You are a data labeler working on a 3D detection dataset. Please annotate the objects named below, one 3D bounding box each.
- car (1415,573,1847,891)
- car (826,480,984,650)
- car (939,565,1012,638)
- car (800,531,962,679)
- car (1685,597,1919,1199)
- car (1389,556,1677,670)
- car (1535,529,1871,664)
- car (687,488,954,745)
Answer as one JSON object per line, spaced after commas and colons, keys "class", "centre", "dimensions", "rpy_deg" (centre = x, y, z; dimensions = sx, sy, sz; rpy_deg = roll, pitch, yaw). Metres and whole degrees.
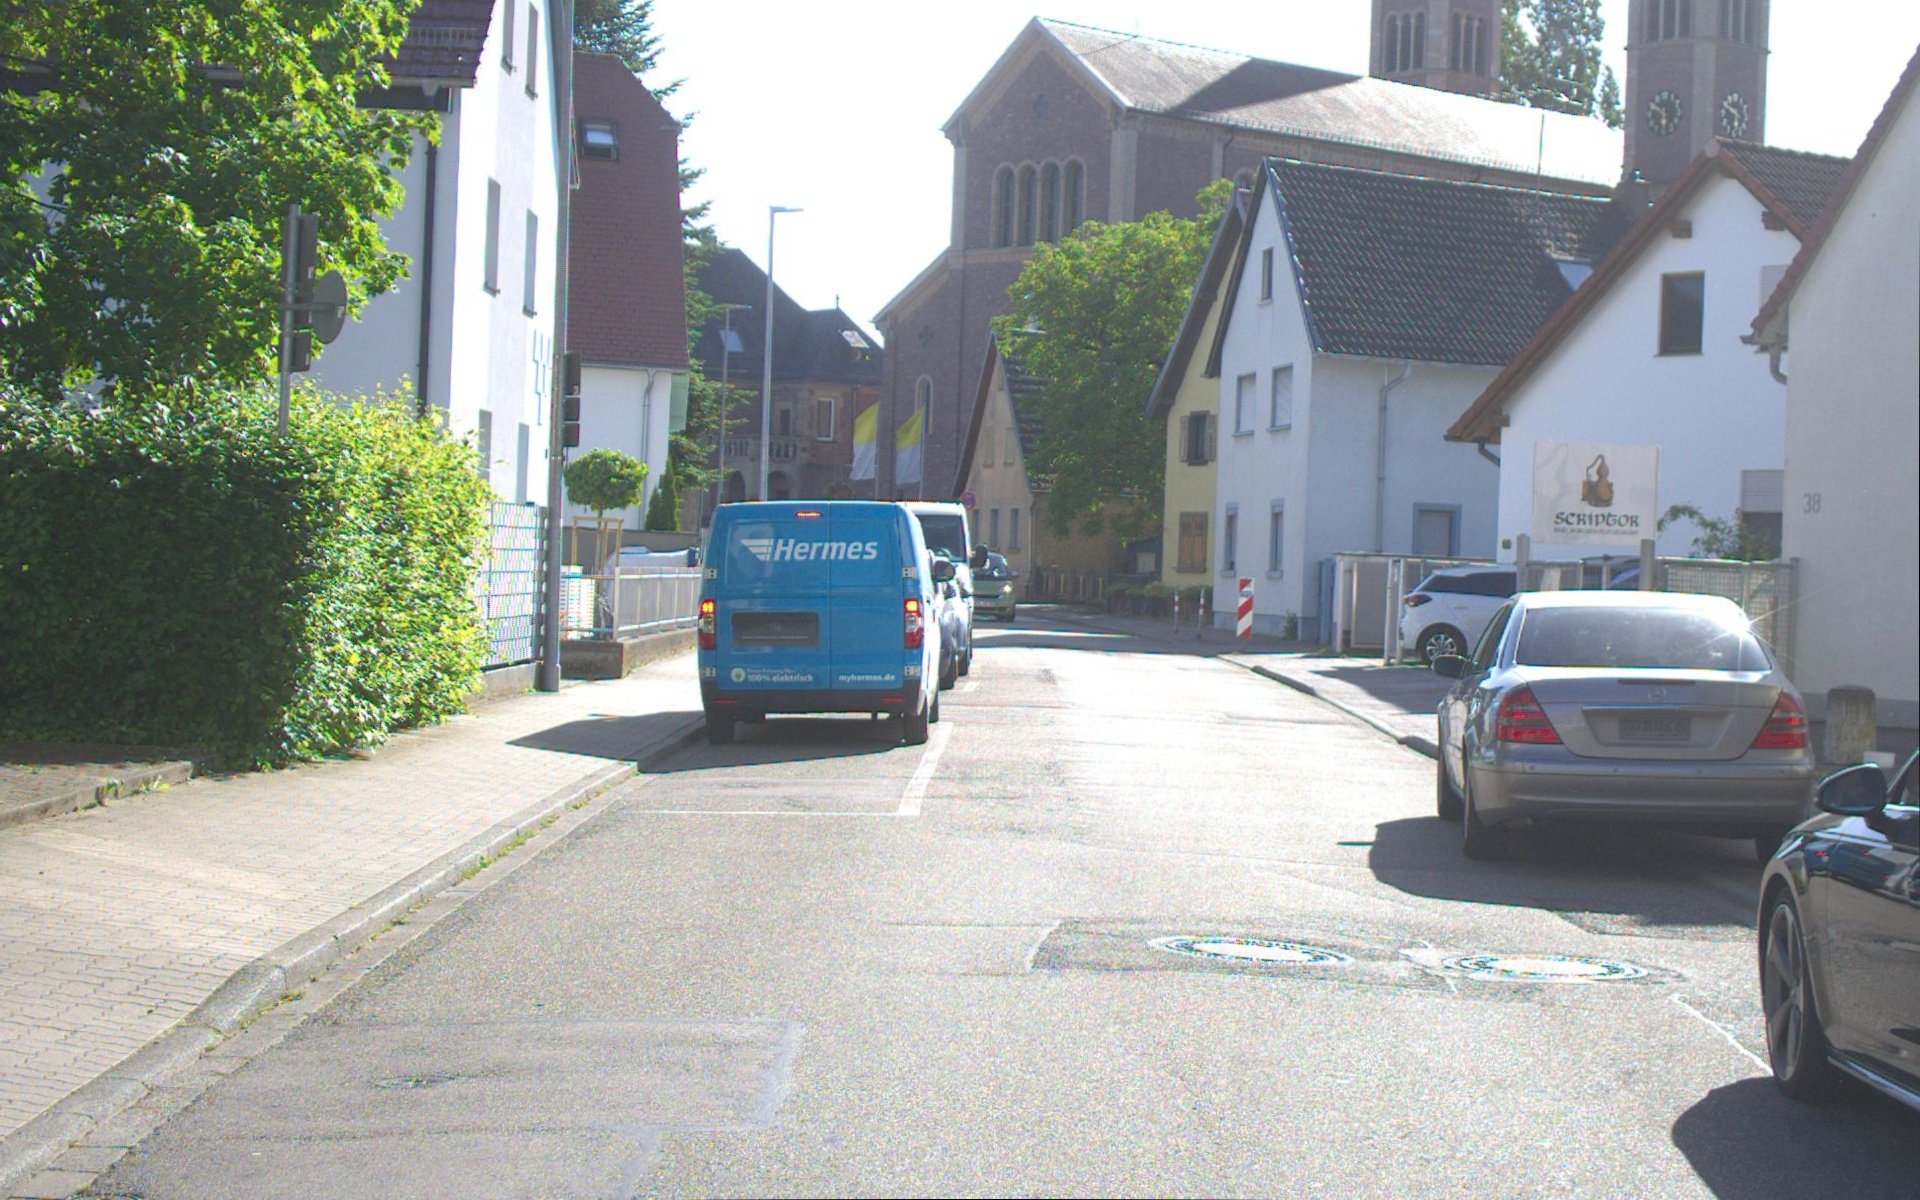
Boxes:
{"class": "car", "centre": [3.646, 0.636, 19.451], "dimensions": [1.812, 1.470, 4.659], "rpy_deg": [3, 1, 5]}
{"class": "car", "centre": [-0.753, -0.540, 51.500], "dimensions": [2.197, 2.382, 6.064], "rpy_deg": [0, 1, 1]}
{"class": "car", "centre": [0.358, 0.011, 77.512], "dimensions": [1.574, 1.541, 2.965], "rpy_deg": [2, 1, 1]}
{"class": "car", "centre": [-0.870, 0.021, 39.918], "dimensions": [1.715, 1.593, 3.925], "rpy_deg": [1, 1, 1]}
{"class": "car", "centre": [3.299, 0.823, 8.697], "dimensions": [1.808, 1.470, 4.844], "rpy_deg": [4, 1, 0]}
{"class": "car", "centre": [8.124, 0.168, 48.836], "dimensions": [3.914, 1.487, 1.846], "rpy_deg": [2, 1, 10]}
{"class": "car", "centre": [9.932, -0.046, 45.936], "dimensions": [4.035, 1.682, 1.912], "rpy_deg": [1, 1, -27]}
{"class": "car", "centre": [-1.071, 0.085, 28.679], "dimensions": [1.902, 1.911, 5.070], "rpy_deg": [1, 1, 1]}
